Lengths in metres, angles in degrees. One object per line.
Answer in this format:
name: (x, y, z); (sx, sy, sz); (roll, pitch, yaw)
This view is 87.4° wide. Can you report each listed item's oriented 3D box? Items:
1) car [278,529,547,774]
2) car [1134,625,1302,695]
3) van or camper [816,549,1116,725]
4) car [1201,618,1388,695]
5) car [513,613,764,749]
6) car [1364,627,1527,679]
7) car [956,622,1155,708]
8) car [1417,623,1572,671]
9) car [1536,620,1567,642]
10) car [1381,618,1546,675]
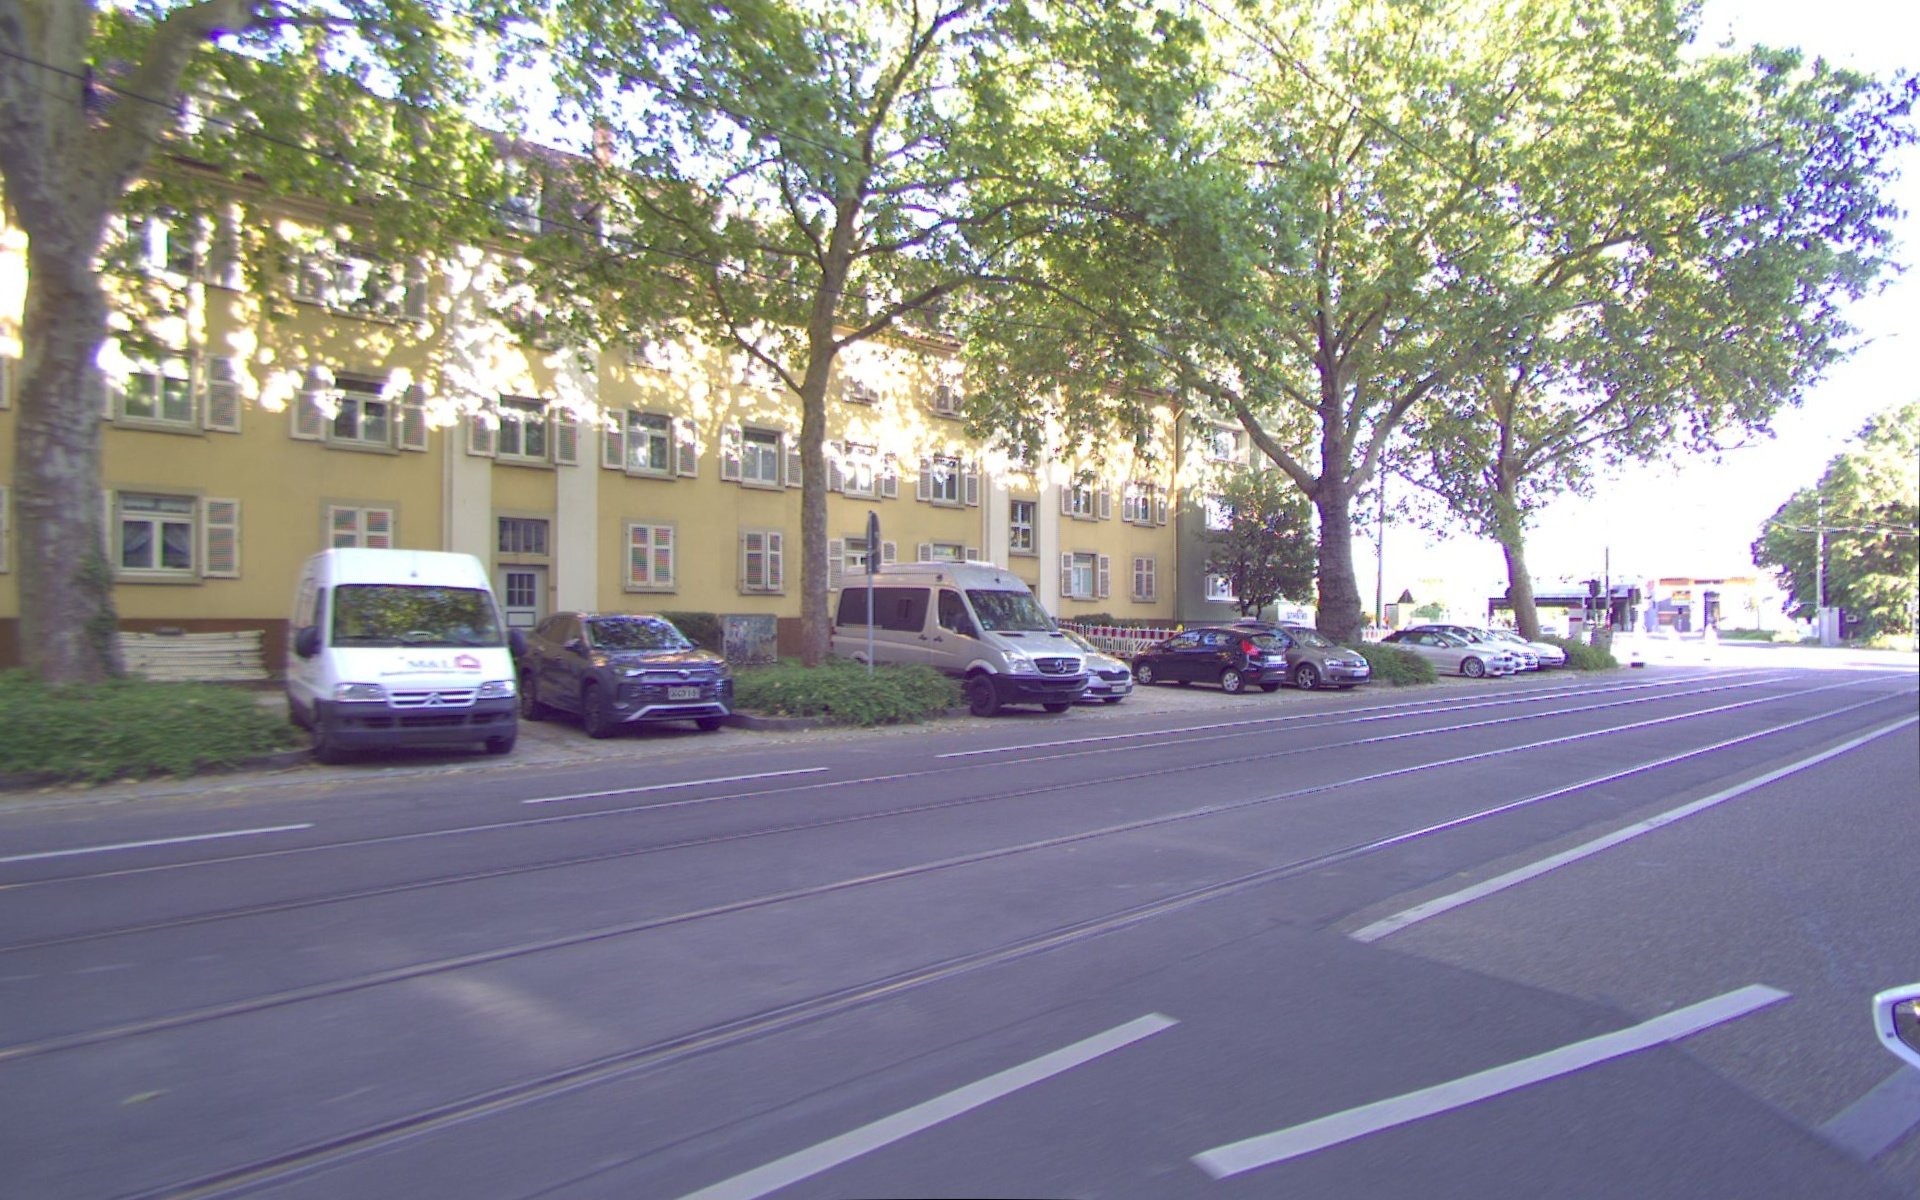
car: (-7.107, 0.581, 12.675); (2.008, 2.407, 5.552); (1, -2, -39)
car: (5.993, 1.345, 23.612); (1.727, 1.448, 3.535); (1, -1, -39)
van or camper: (-0.127, 0.598, 18.556); (2.210, 2.712, 6.062); (1, -1, -39)
car: (8.244, 1.324, 25.076); (1.798, 1.627, 4.158); (1, 0, -36)
car: (-4.810, 1.026, 14.607); (1.954, 1.652, 4.526); (1, -1, -40)
car: (14.882, 1.565, 30.979); (1.713, 1.386, 4.208); (1, 0, -38)
car: (1.844, 1.256, 20.553); (1.714, 1.489, 4.113); (2, -1, -37)
car: (18.463, 1.588, 34.856); (1.661, 1.448, 4.478); (1, 0, -37)
car: (43.919, 2.294, 74.525); (1.799, 1.539, 3.885); (2, 0, 32)
car: (16.565, 1.471, 33.257); (1.782, 1.640, 4.575); (1, 0, -37)
